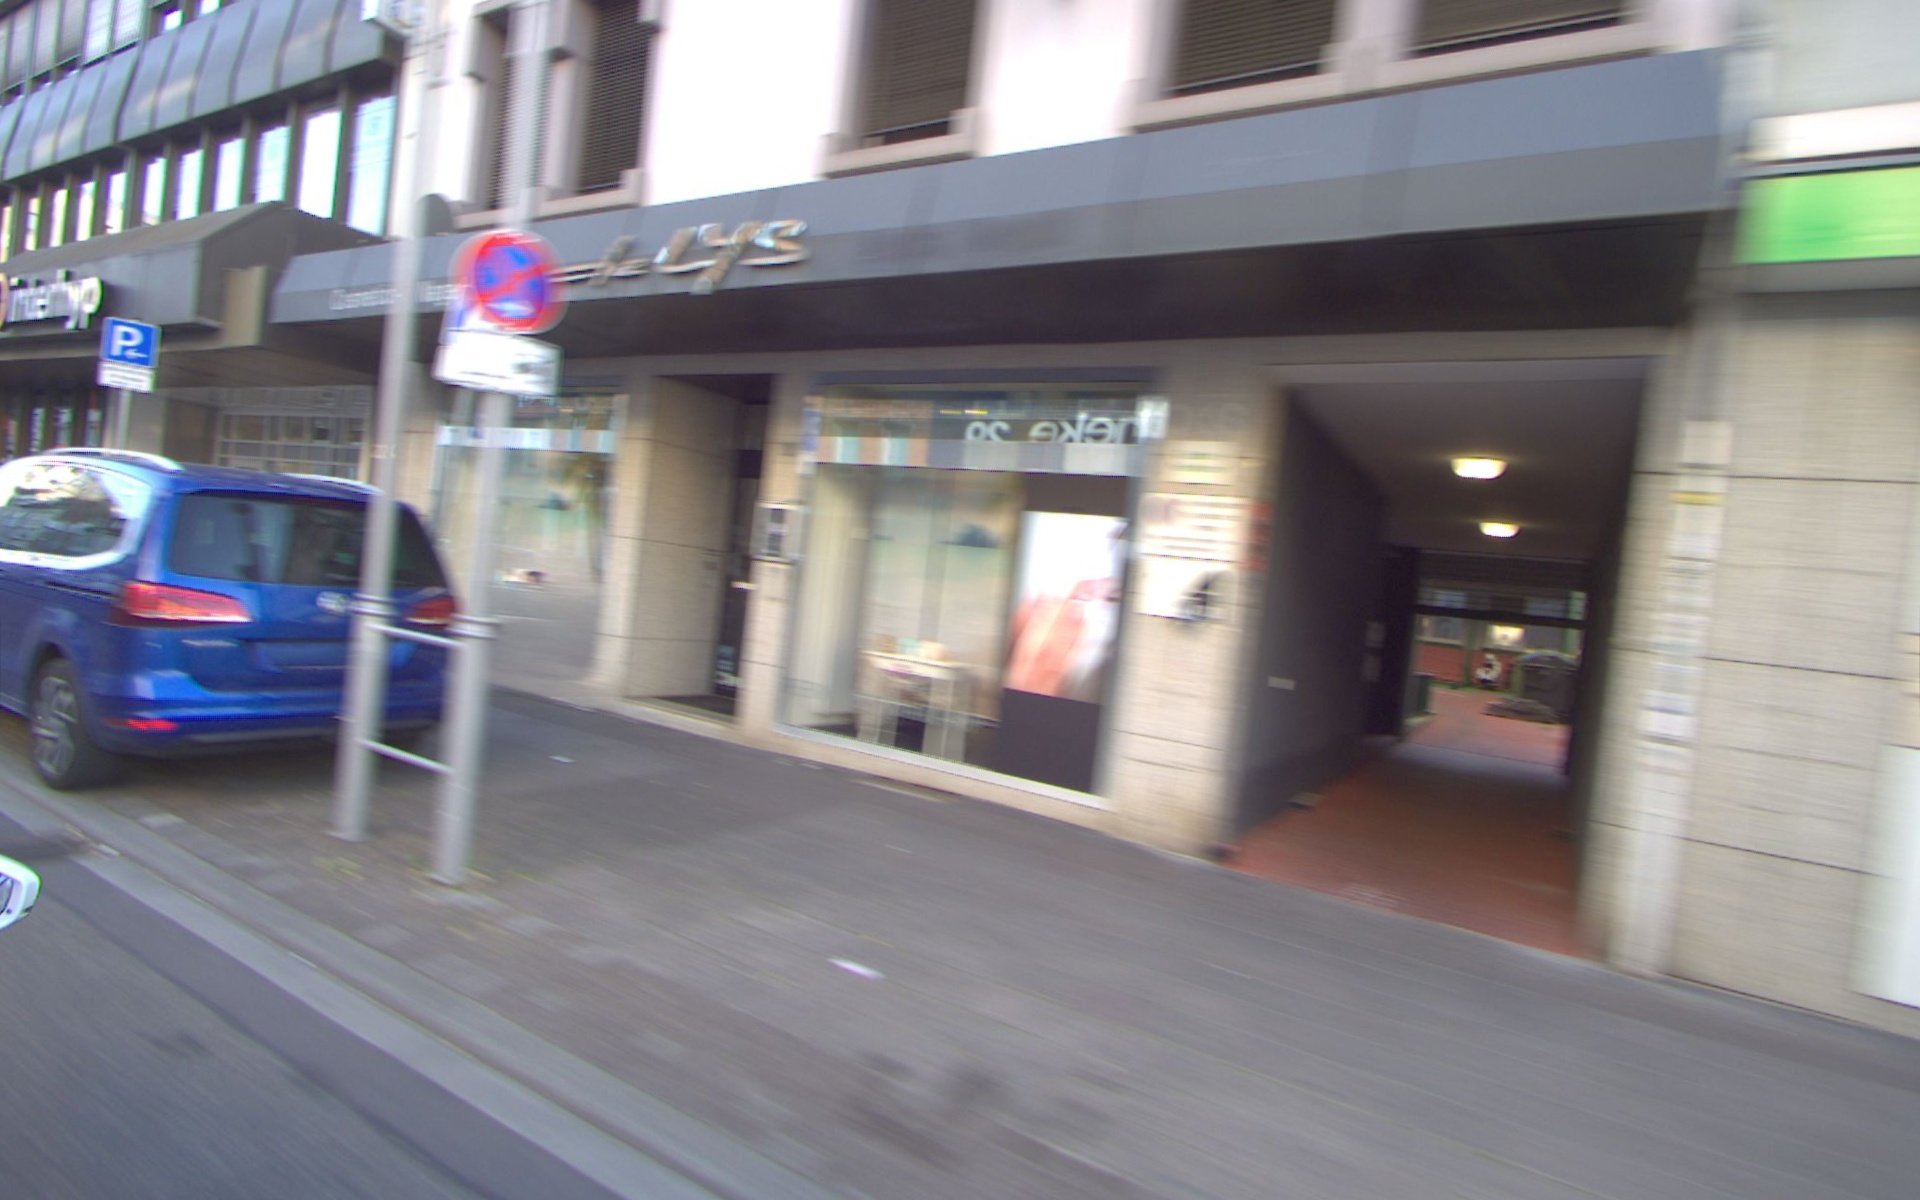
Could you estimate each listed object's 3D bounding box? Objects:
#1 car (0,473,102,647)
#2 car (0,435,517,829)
[{"bbox_3d":[-10.023,-0.542,9.534,3.808,1.505,1.766,7,3,31],"label":"car"},{"bbox_3d":[-5.124,-0.043,6.486,4.488,1.740,1.914,7,3,32],"label":"car"}]
